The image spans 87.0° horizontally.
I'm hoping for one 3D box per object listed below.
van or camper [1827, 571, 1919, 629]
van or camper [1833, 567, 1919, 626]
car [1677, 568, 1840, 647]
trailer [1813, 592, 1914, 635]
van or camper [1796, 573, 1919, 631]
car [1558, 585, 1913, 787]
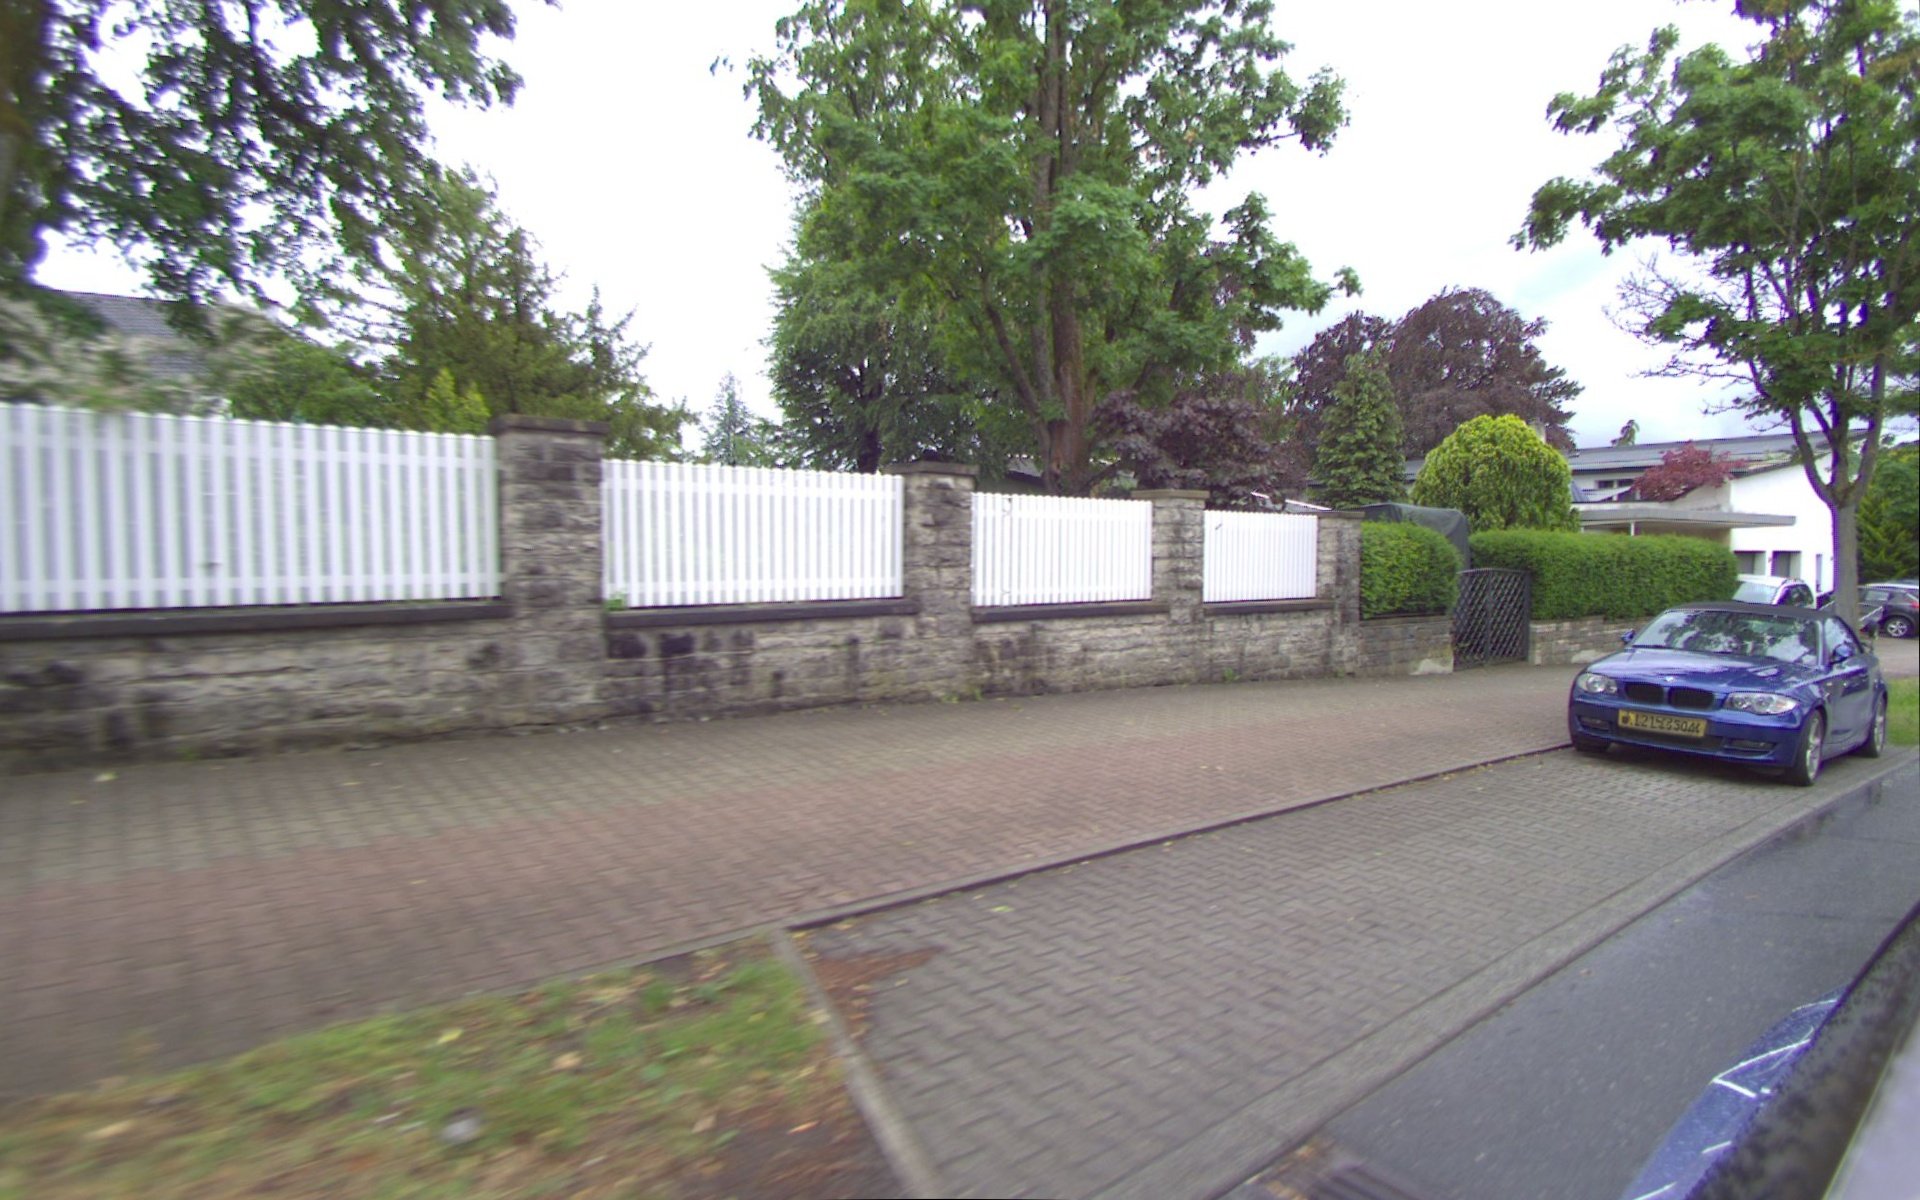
[{"bbox_3d":[31.652,0.052,33.421,2.081,1.697,4.008,0,6,-30],"label":"van or camper"},{"bbox_3d":[33.292,-0.077,35.088,1.907,1.809,4.037,0,6,-27],"label":"van or camper"},{"bbox_3d":[19.911,0.128,25.179,4.848,1.779,1.801,0,2,-35],"label":"car"},{"bbox_3d":[26.778,0.378,29.973,3.213,0.931,1.427,-2,11,-35],"label":"trailer"},{"bbox_3d":[29.001,0.027,32.099,1.736,1.574,3.416,-1,5,-35],"label":"van or camper"},{"bbox_3d":[7.171,0.614,9.249,3.759,1.394,1.646,0,4,-38],"label":"car"}]
